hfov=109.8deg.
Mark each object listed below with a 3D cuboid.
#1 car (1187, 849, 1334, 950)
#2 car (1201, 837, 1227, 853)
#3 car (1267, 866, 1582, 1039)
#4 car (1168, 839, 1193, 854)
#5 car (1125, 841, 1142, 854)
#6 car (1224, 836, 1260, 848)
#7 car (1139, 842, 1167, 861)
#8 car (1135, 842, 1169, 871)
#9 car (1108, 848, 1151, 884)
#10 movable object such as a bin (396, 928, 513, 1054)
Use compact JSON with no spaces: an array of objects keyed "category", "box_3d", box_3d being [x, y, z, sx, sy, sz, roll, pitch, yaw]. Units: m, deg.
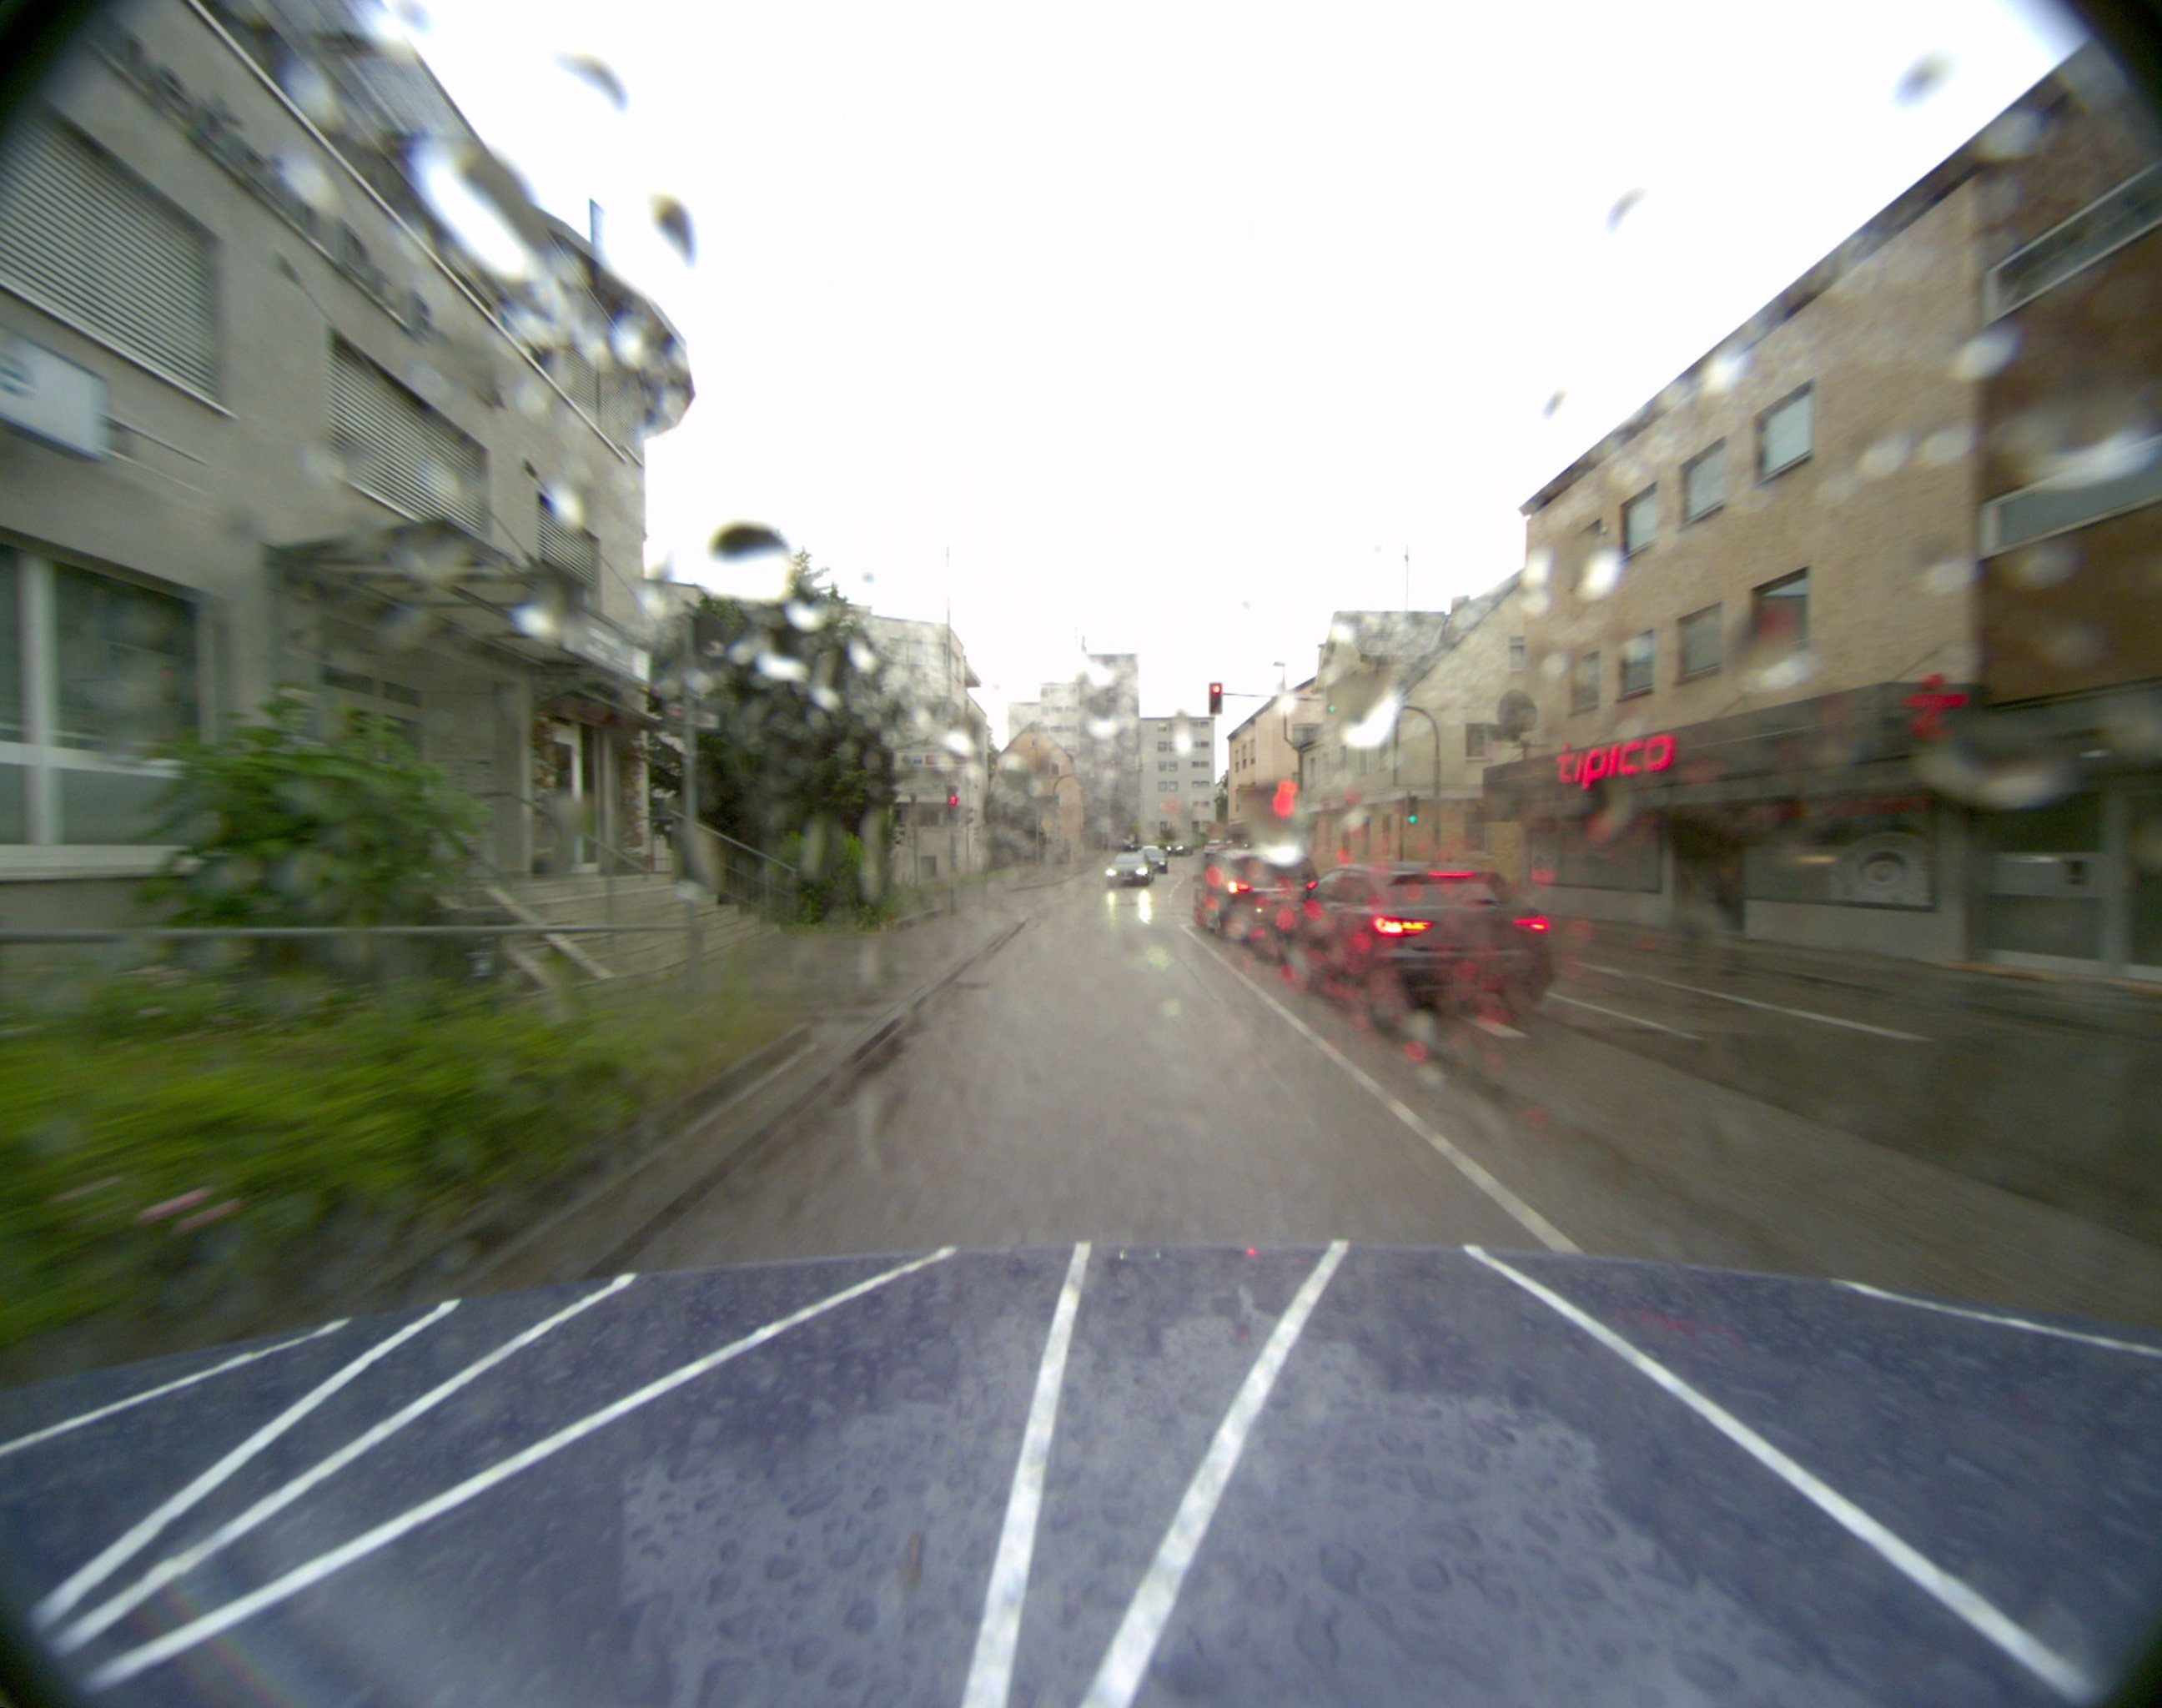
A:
[{"category":"car","box_3d":[3.271,0.769,14.696,1.820,1.635,4.275,-1,0,0]},{"category":"car","box_3d":[13.856,-0.953,78.960,1.959,1.527,4.005,-1,2,20]},{"category":"car","box_3d":[3.381,0.863,8.298,1.711,1.375,3.669,-1,0,-1]},{"category":"car","box_3d":[10.528,-0.783,80.448,1.684,1.452,4.006,-1,0,21]},{"category":"car","box_3d":[5.824,-0.729,84.536,1.686,1.452,4.000,-1,0,2]},{"category":"car","box_3d":[19.947,-1.481,94.239,4.000,1.452,1.686,-1,1,-8]},{"category":"car","box_3d":[5.894,-0.208,61.724,1.684,1.413,4.004,-1,0,14]},{"category":"car","box_3d":[4.382,0.134,47.126,1.998,1.652,4.001,-1,0,5]},{"category":"car","box_3d":[2.220,0.544,35.921,1.820,1.562,4.276,-1,0,1]},{"category":"movable object such as a bin","box_3d":[-4.869,1.044,5.922,0.482,0.904,0.492,-1,-3,12]}]
